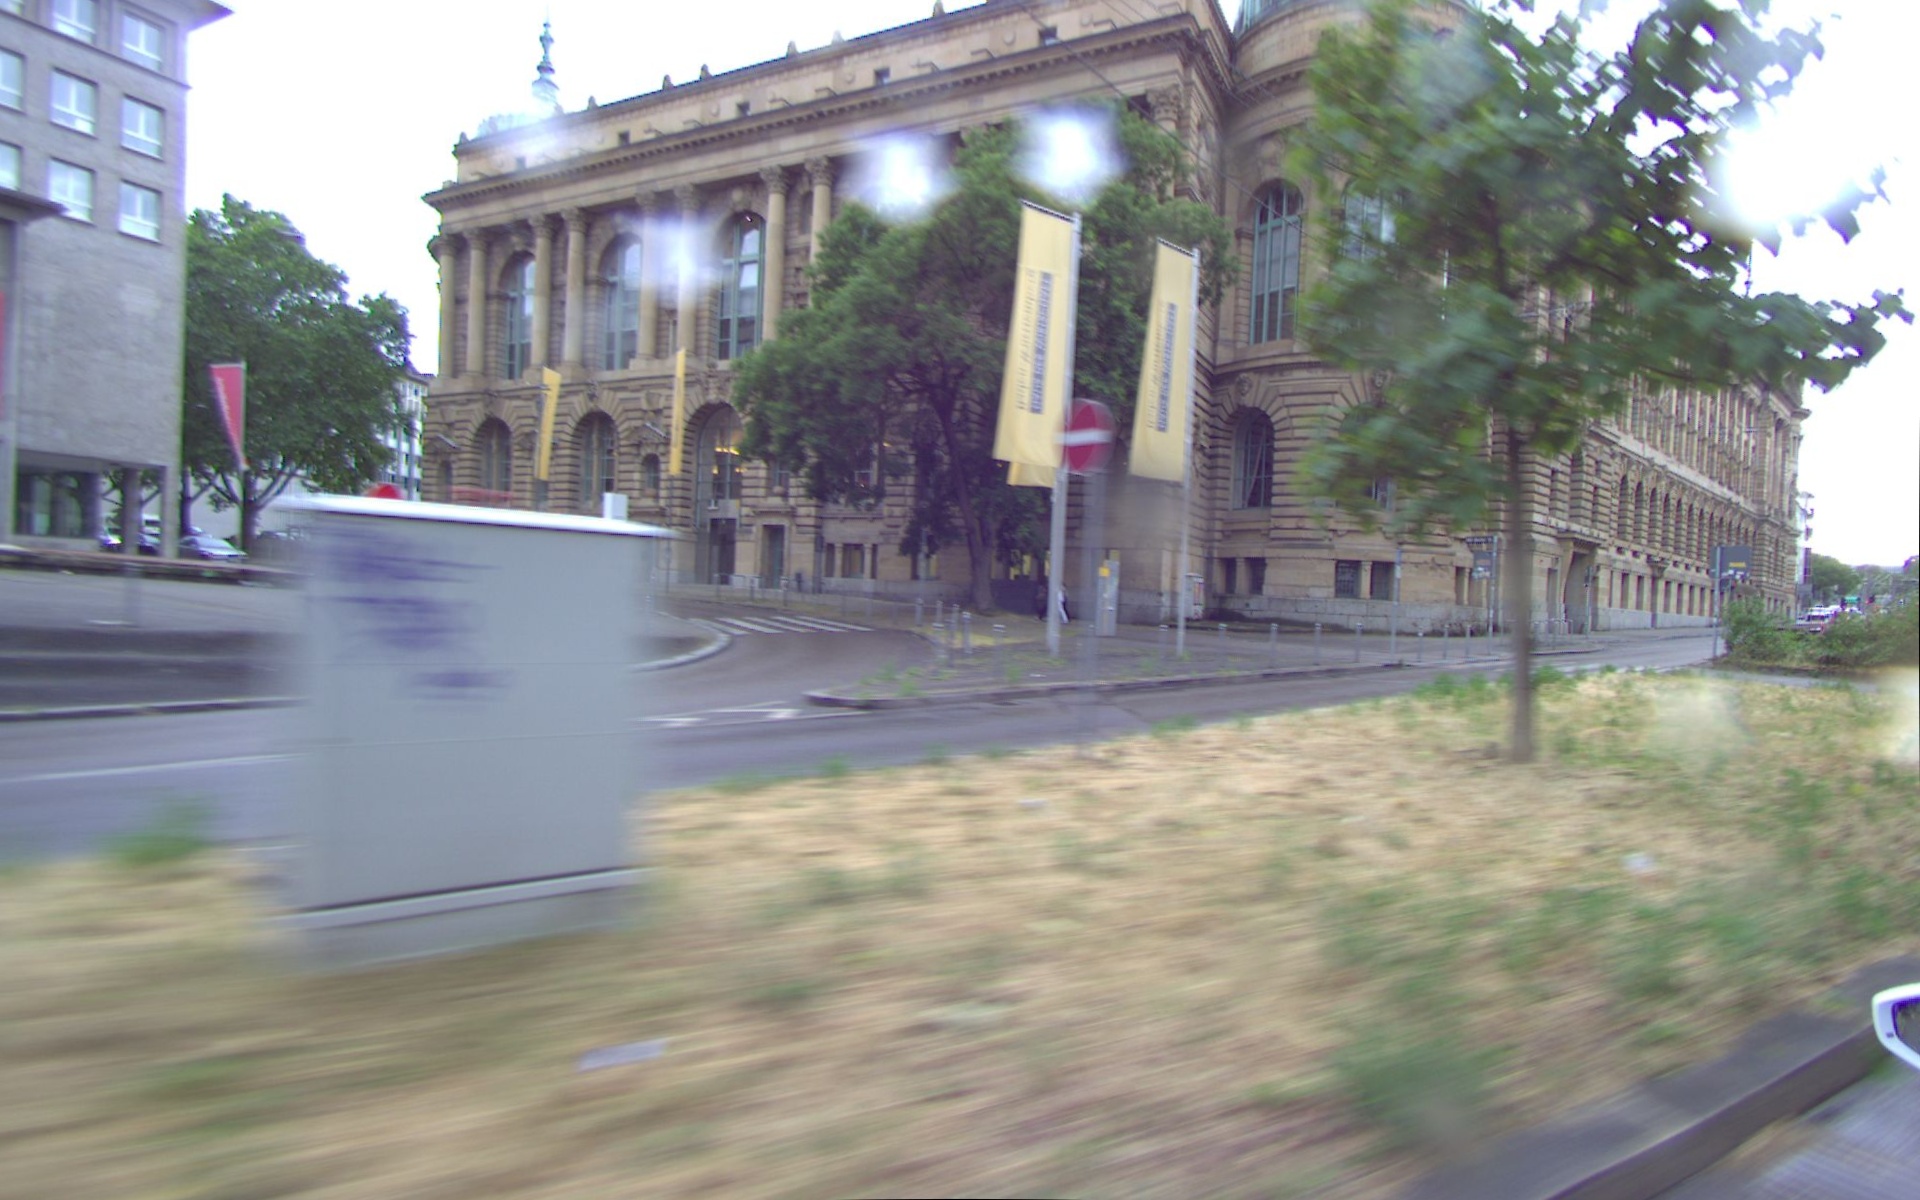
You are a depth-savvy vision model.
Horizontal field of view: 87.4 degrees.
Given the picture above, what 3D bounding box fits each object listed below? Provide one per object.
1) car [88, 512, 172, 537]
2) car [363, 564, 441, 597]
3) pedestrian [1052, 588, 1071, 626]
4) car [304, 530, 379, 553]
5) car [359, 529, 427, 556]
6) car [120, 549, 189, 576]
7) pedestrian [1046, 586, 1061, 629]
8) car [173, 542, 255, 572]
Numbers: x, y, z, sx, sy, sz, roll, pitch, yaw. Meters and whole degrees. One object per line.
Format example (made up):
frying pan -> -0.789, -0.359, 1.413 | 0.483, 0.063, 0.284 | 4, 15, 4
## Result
car -> -77.245, -7.002, 93.503 | 6.166, 1.983, 2.315 | 2, 1, 5
car -> -26.271, -0.928, 47.268 | 3.559, 1.422, 1.616 | 2, 1, 31
pedestrian -> 3.770, 0.258, 37.380 | 0.433, 1.363, 0.643 | 2, 1, 28
car -> -62.038, -5.860, 100.784 | 6.166, 1.983, 2.315 | 2, 1, 5
car -> -61.283, -6.226, 108.631 | 6.166, 2.596, 2.315 | 2, 1, 5
car -> -40.172, -1.882, 50.060 | 3.560, 1.265, 1.615 | 2, 1, 32
pedestrian -> 3.410, 0.271, 36.684 | 0.380, 1.549, 0.441 | 2, 1, 28
car -> -34.852, -2.018, 46.919 | 3.555, 1.265, 1.617 | 2, 1, 26
